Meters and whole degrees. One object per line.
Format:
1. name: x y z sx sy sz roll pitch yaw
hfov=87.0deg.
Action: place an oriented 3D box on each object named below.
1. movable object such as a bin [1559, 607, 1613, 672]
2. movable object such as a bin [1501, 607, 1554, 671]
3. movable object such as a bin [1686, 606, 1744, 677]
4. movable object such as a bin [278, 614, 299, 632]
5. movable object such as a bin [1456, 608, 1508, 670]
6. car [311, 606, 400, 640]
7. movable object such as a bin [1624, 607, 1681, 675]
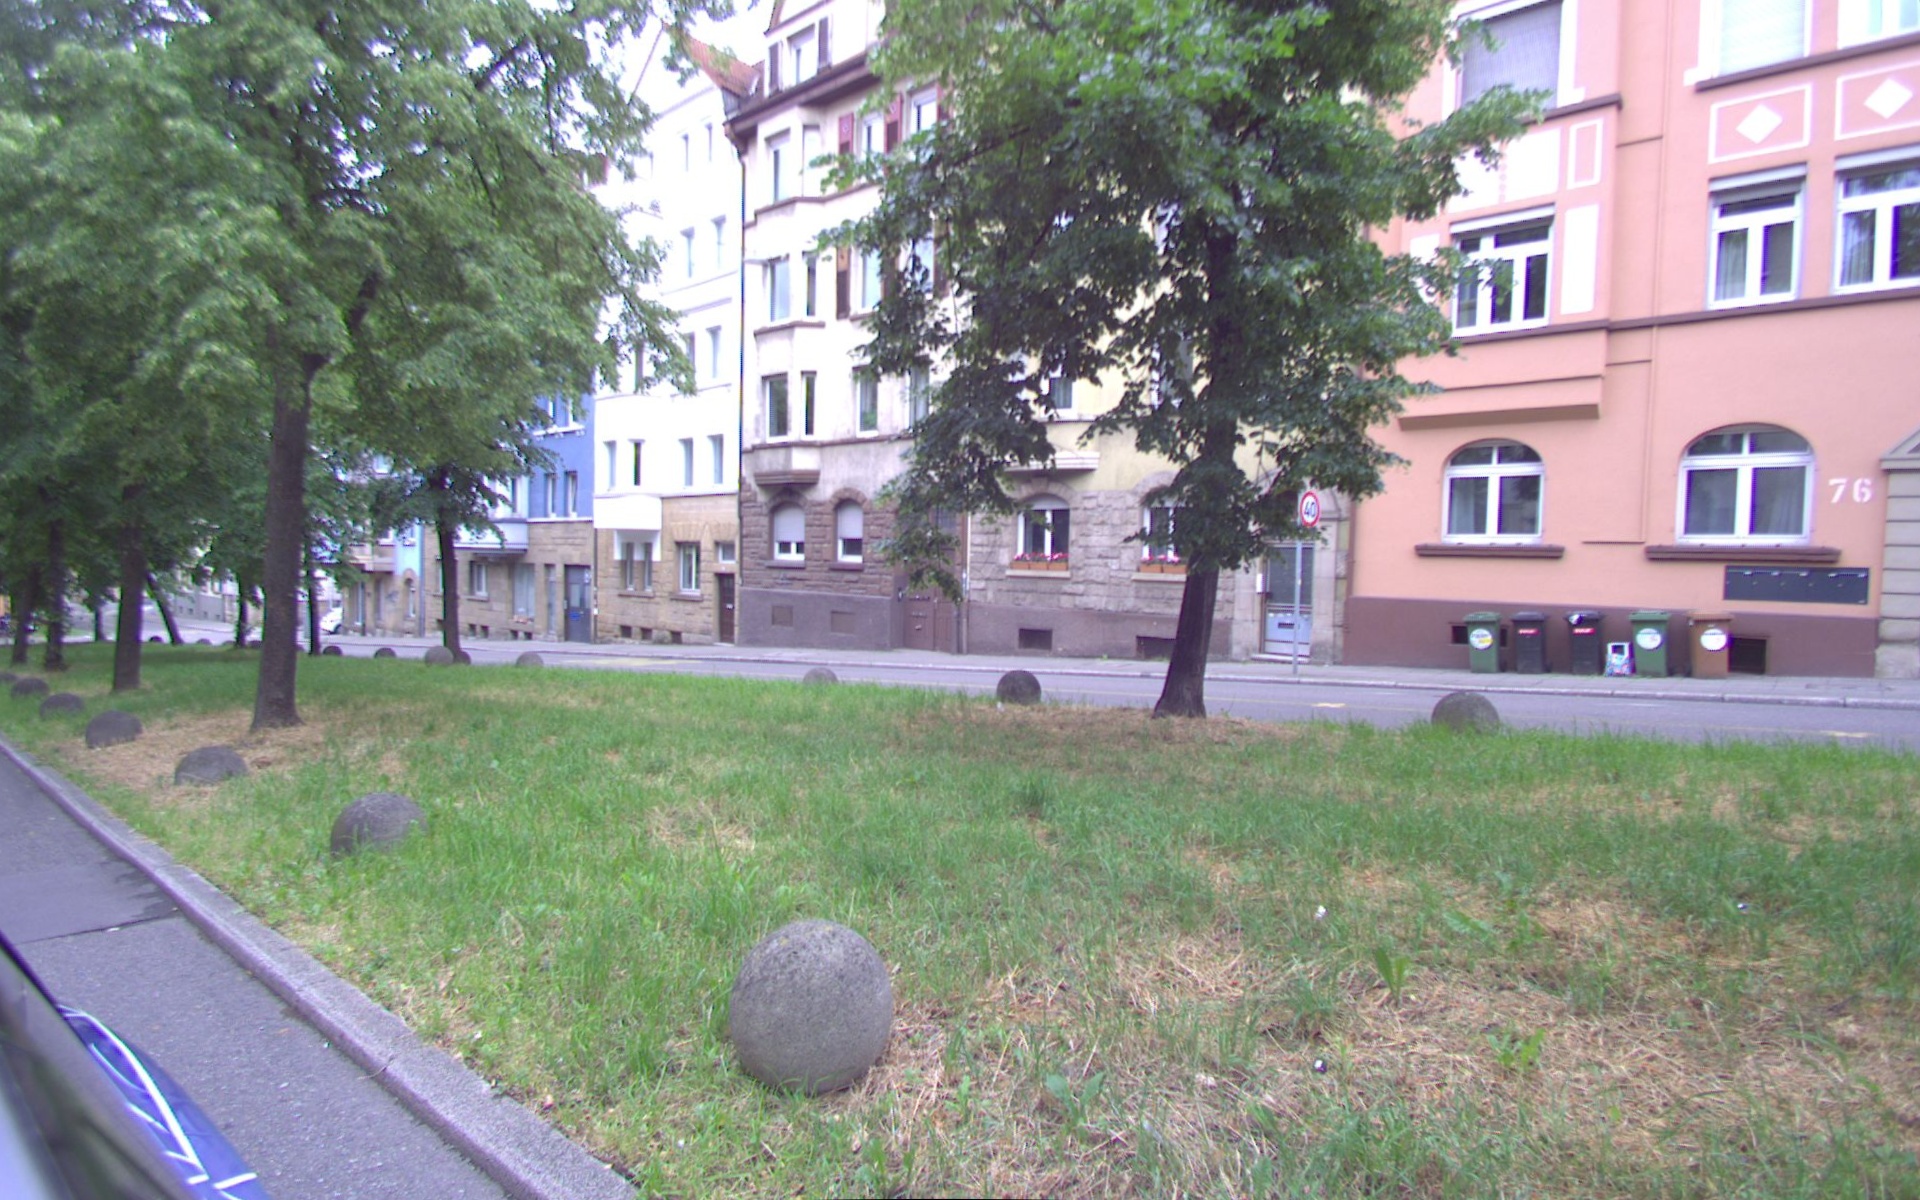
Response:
1. movable object such as a bin: 9.124 0.565 14.747 0.601 0.911 0.603 -1 1 38
2. movable object such as a bin: 8.566 0.576 15.261 0.601 0.911 0.603 -1 1 38
3. movable object such as a bin: 10.242 0.557 13.728 0.601 0.911 0.603 -1 1 38
4. movable object such as a bin: -41.119 1.396 61.991 0.668 1.001 0.876 0 3 40
5. movable object such as a bin: 8.084 0.588 15.674 0.601 0.911 0.603 -1 1 38
6. car: -34.805 1.293 58.348 1.870 1.480 3.959 2 7 39
7. movable object such as a bin: 9.708 0.562 14.186 0.601 0.911 0.603 -1 1 38
